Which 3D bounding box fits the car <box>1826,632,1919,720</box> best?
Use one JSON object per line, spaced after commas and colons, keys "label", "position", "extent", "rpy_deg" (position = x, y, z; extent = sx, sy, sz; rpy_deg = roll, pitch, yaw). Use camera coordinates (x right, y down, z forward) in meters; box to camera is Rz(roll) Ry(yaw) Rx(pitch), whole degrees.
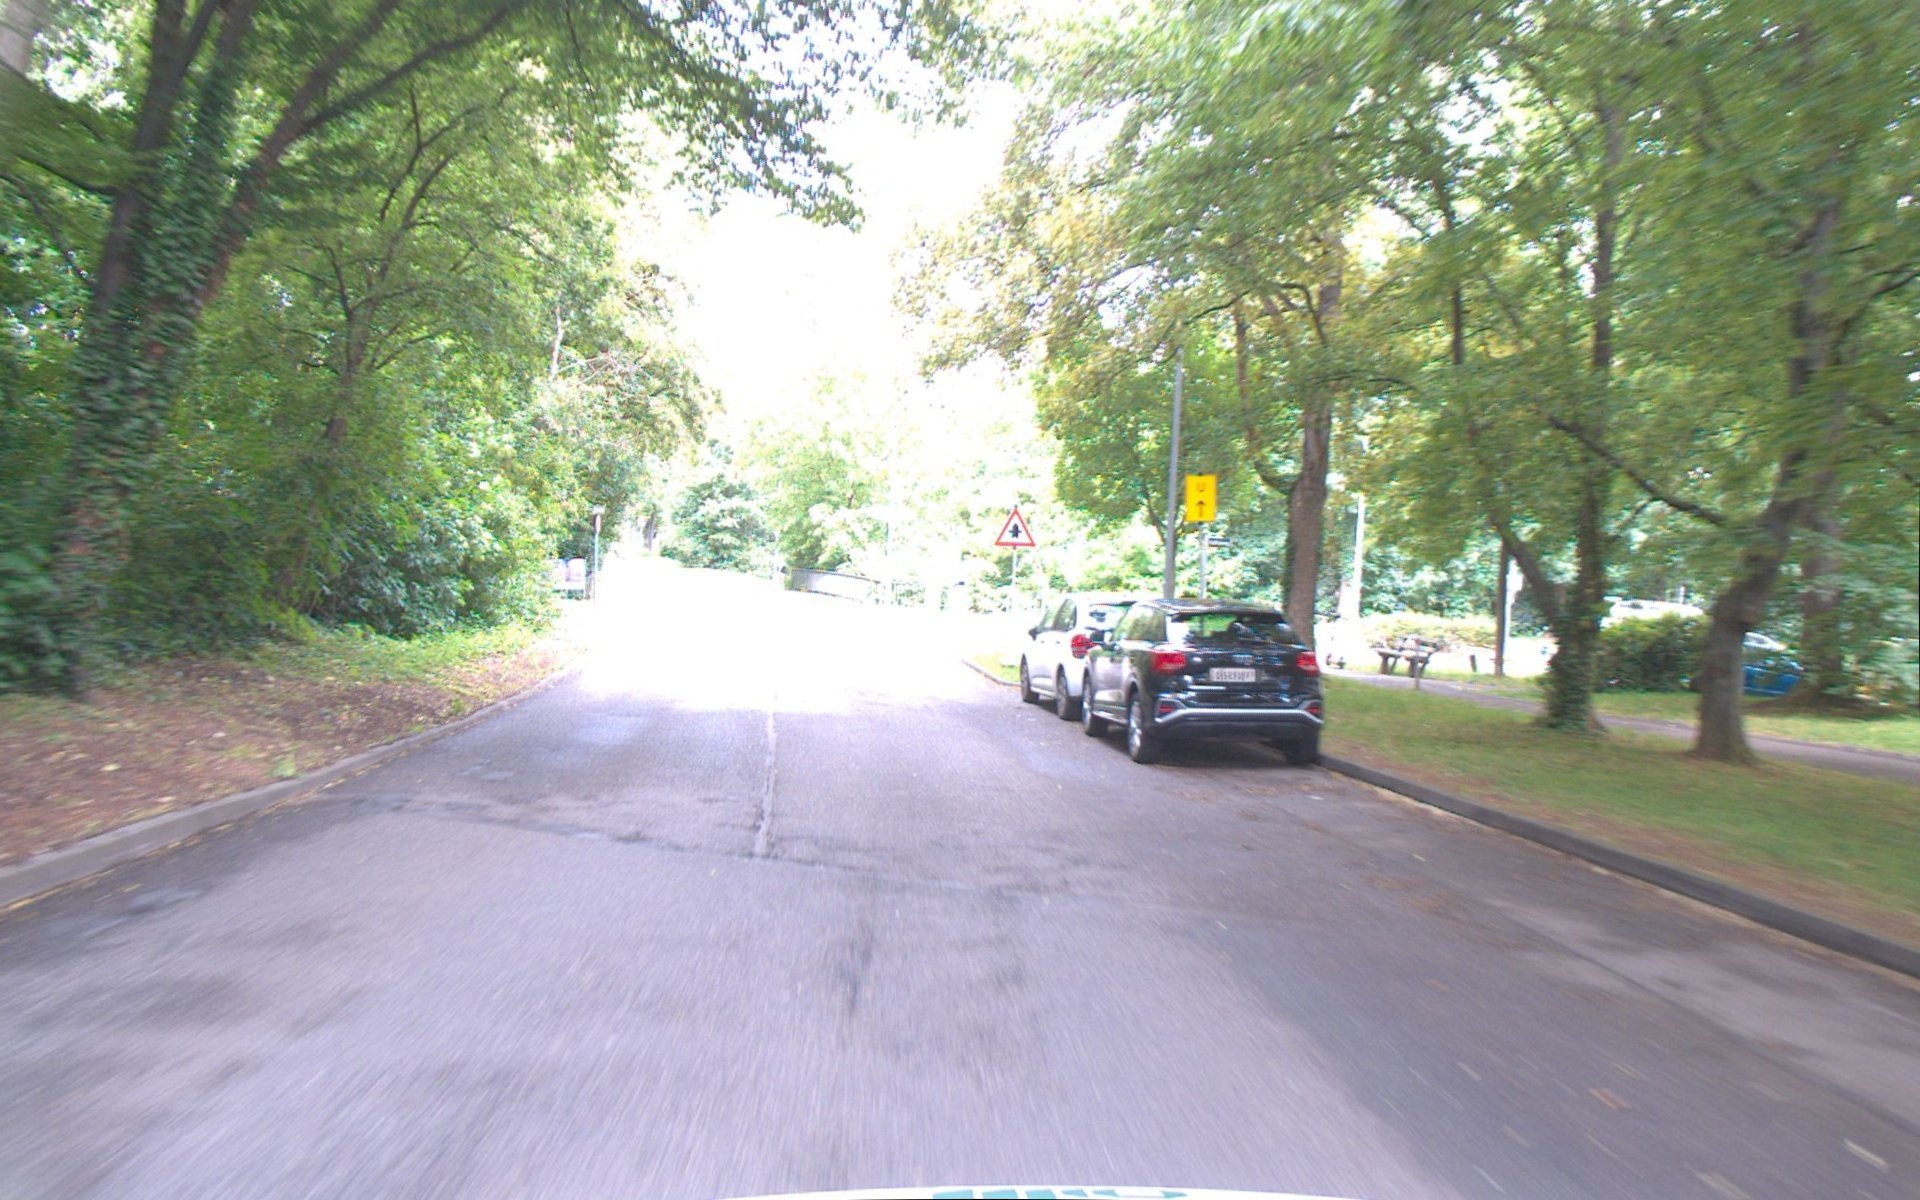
{"label": "car", "position": [23.155, 1.856, 39.099], "extent": [4.305, 1.880, 1.833], "rpy_deg": [3, 1, 2]}

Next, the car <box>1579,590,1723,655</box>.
{"label": "car", "position": [23.990, 0.766, 57.498], "extent": [4.121, 2.048, 2.000], "rpy_deg": [2, 0, -2]}

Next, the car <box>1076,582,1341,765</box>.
{"label": "car", "position": [2.378, 0.641, 16.899], "extent": [1.739, 1.549, 4.180], "rpy_deg": [2, 1, -4]}

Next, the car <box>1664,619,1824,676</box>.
{"label": "car", "position": [24.606, 1.481, 51.998], "extent": [4.121, 1.525, 1.799], "rpy_deg": [2, 1, -2]}

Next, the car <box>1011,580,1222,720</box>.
{"label": "car", "position": [1.902, 0.571, 21.286], "extent": [1.741, 1.549, 3.772], "rpy_deg": [2, 1, -10]}

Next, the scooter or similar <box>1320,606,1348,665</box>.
{"label": "scooter or similar", "position": [8.670, 0.808, 38.371], "extent": [0.277, 1.309, 1.107], "rpy_deg": [3, 1, -4]}

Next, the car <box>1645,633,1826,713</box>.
{"label": "car", "position": [18.446, 1.722, 39.473], "extent": [3.442, 1.597, 1.834], "rpy_deg": [3, 1, 6]}
